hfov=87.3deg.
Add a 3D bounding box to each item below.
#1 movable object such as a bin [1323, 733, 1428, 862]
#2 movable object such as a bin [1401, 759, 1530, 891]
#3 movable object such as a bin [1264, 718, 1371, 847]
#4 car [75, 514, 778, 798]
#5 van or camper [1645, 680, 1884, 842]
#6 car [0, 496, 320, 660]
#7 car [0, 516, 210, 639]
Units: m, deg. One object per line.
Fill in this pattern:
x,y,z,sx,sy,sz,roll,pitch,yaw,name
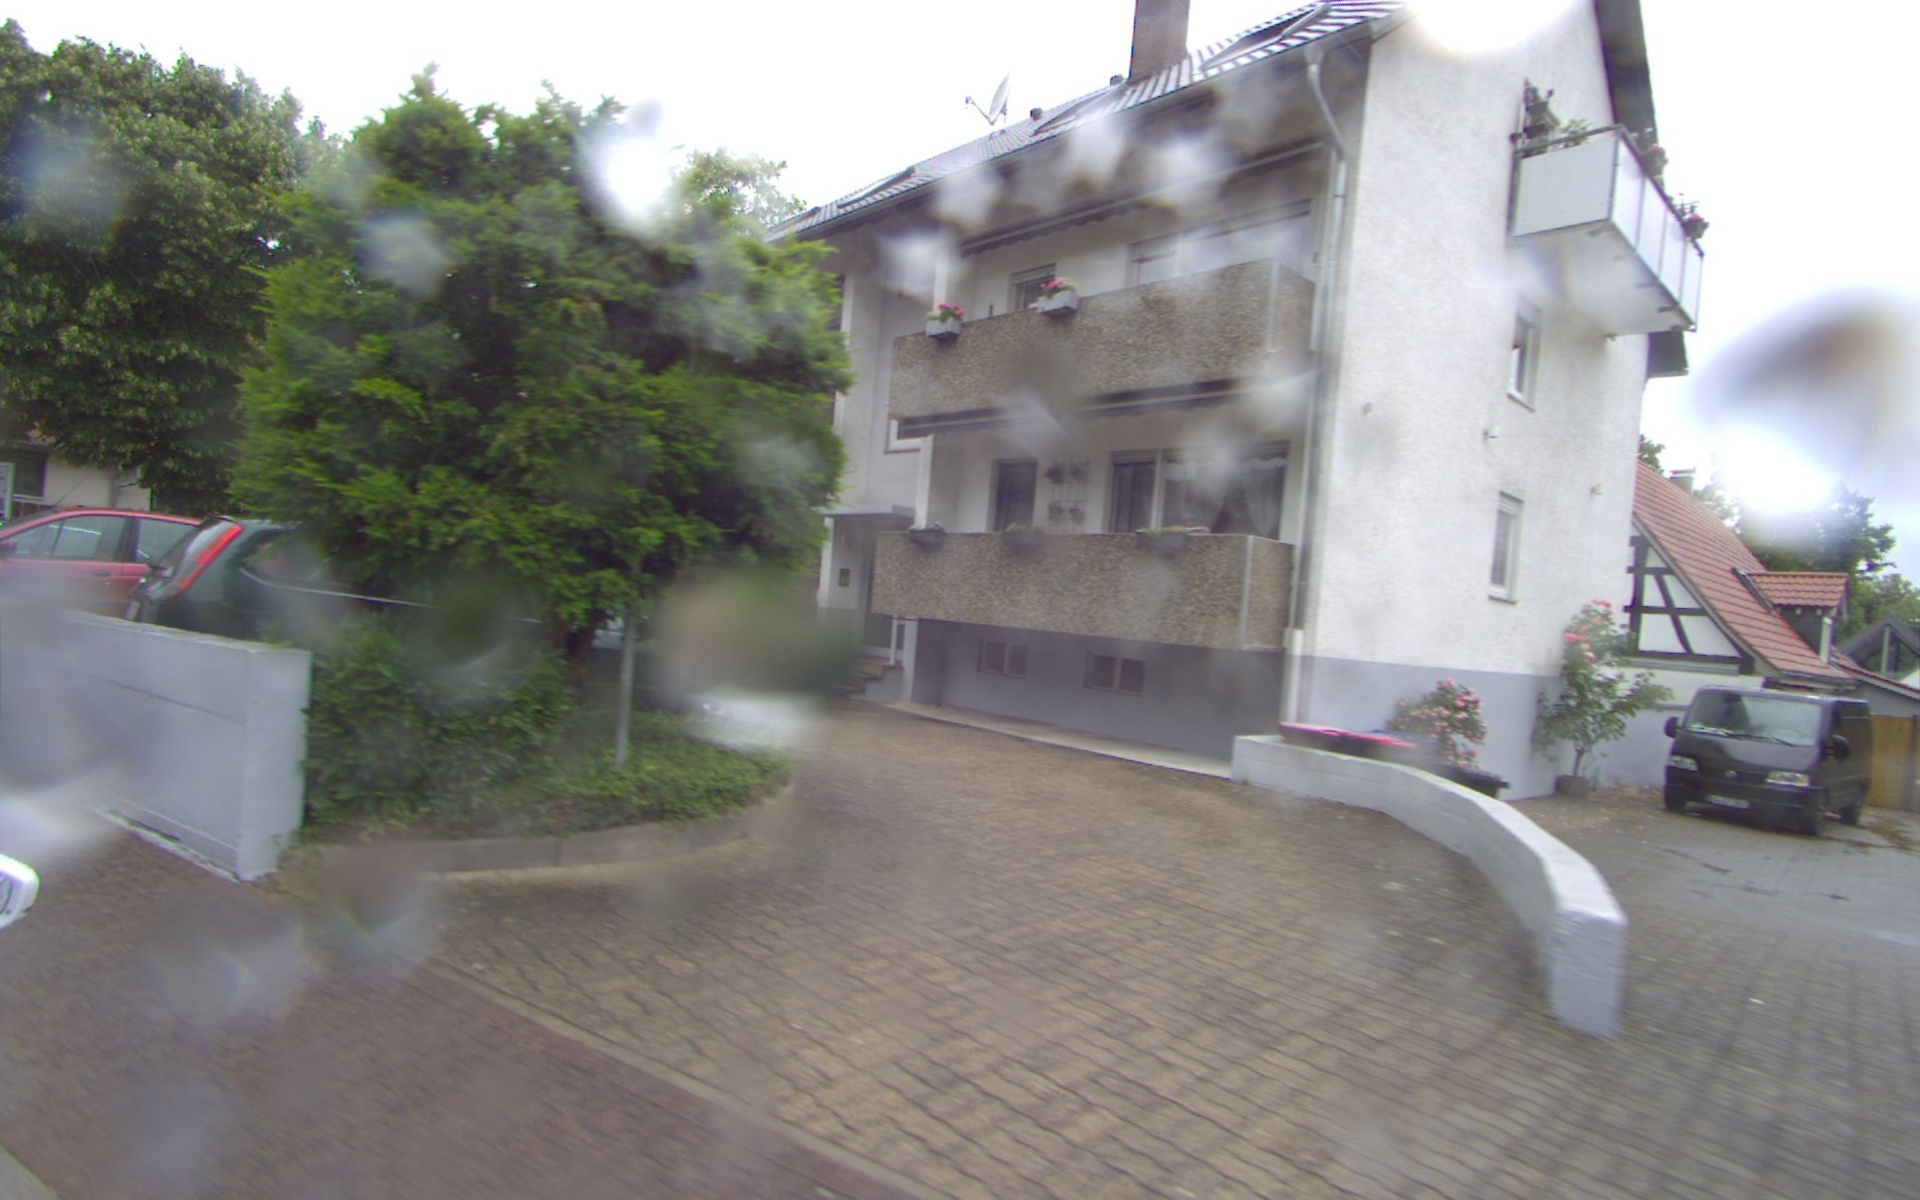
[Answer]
3.878,1.830,9.391,0.620,1.079,0.565,7,-1,-35,movable object such as a bin
4.278,1.899,8.542,0.617,0.959,0.653,7,-1,-23,movable object such as a bin
3.572,1.807,10.063,0.621,1.131,0.683,7,-1,-39,movable object such as a bin
-3.625,0.425,7.451,1.673,1.498,4.218,6,0,44,car
13.383,2.548,16.626,4.818,2.038,2.175,7,0,-42,van or camper
-10.111,-0.277,11.721,1.832,1.609,4.060,6,0,43,car
-12.285,-0.360,12.851,1.725,1.396,3.950,7,0,36,car
